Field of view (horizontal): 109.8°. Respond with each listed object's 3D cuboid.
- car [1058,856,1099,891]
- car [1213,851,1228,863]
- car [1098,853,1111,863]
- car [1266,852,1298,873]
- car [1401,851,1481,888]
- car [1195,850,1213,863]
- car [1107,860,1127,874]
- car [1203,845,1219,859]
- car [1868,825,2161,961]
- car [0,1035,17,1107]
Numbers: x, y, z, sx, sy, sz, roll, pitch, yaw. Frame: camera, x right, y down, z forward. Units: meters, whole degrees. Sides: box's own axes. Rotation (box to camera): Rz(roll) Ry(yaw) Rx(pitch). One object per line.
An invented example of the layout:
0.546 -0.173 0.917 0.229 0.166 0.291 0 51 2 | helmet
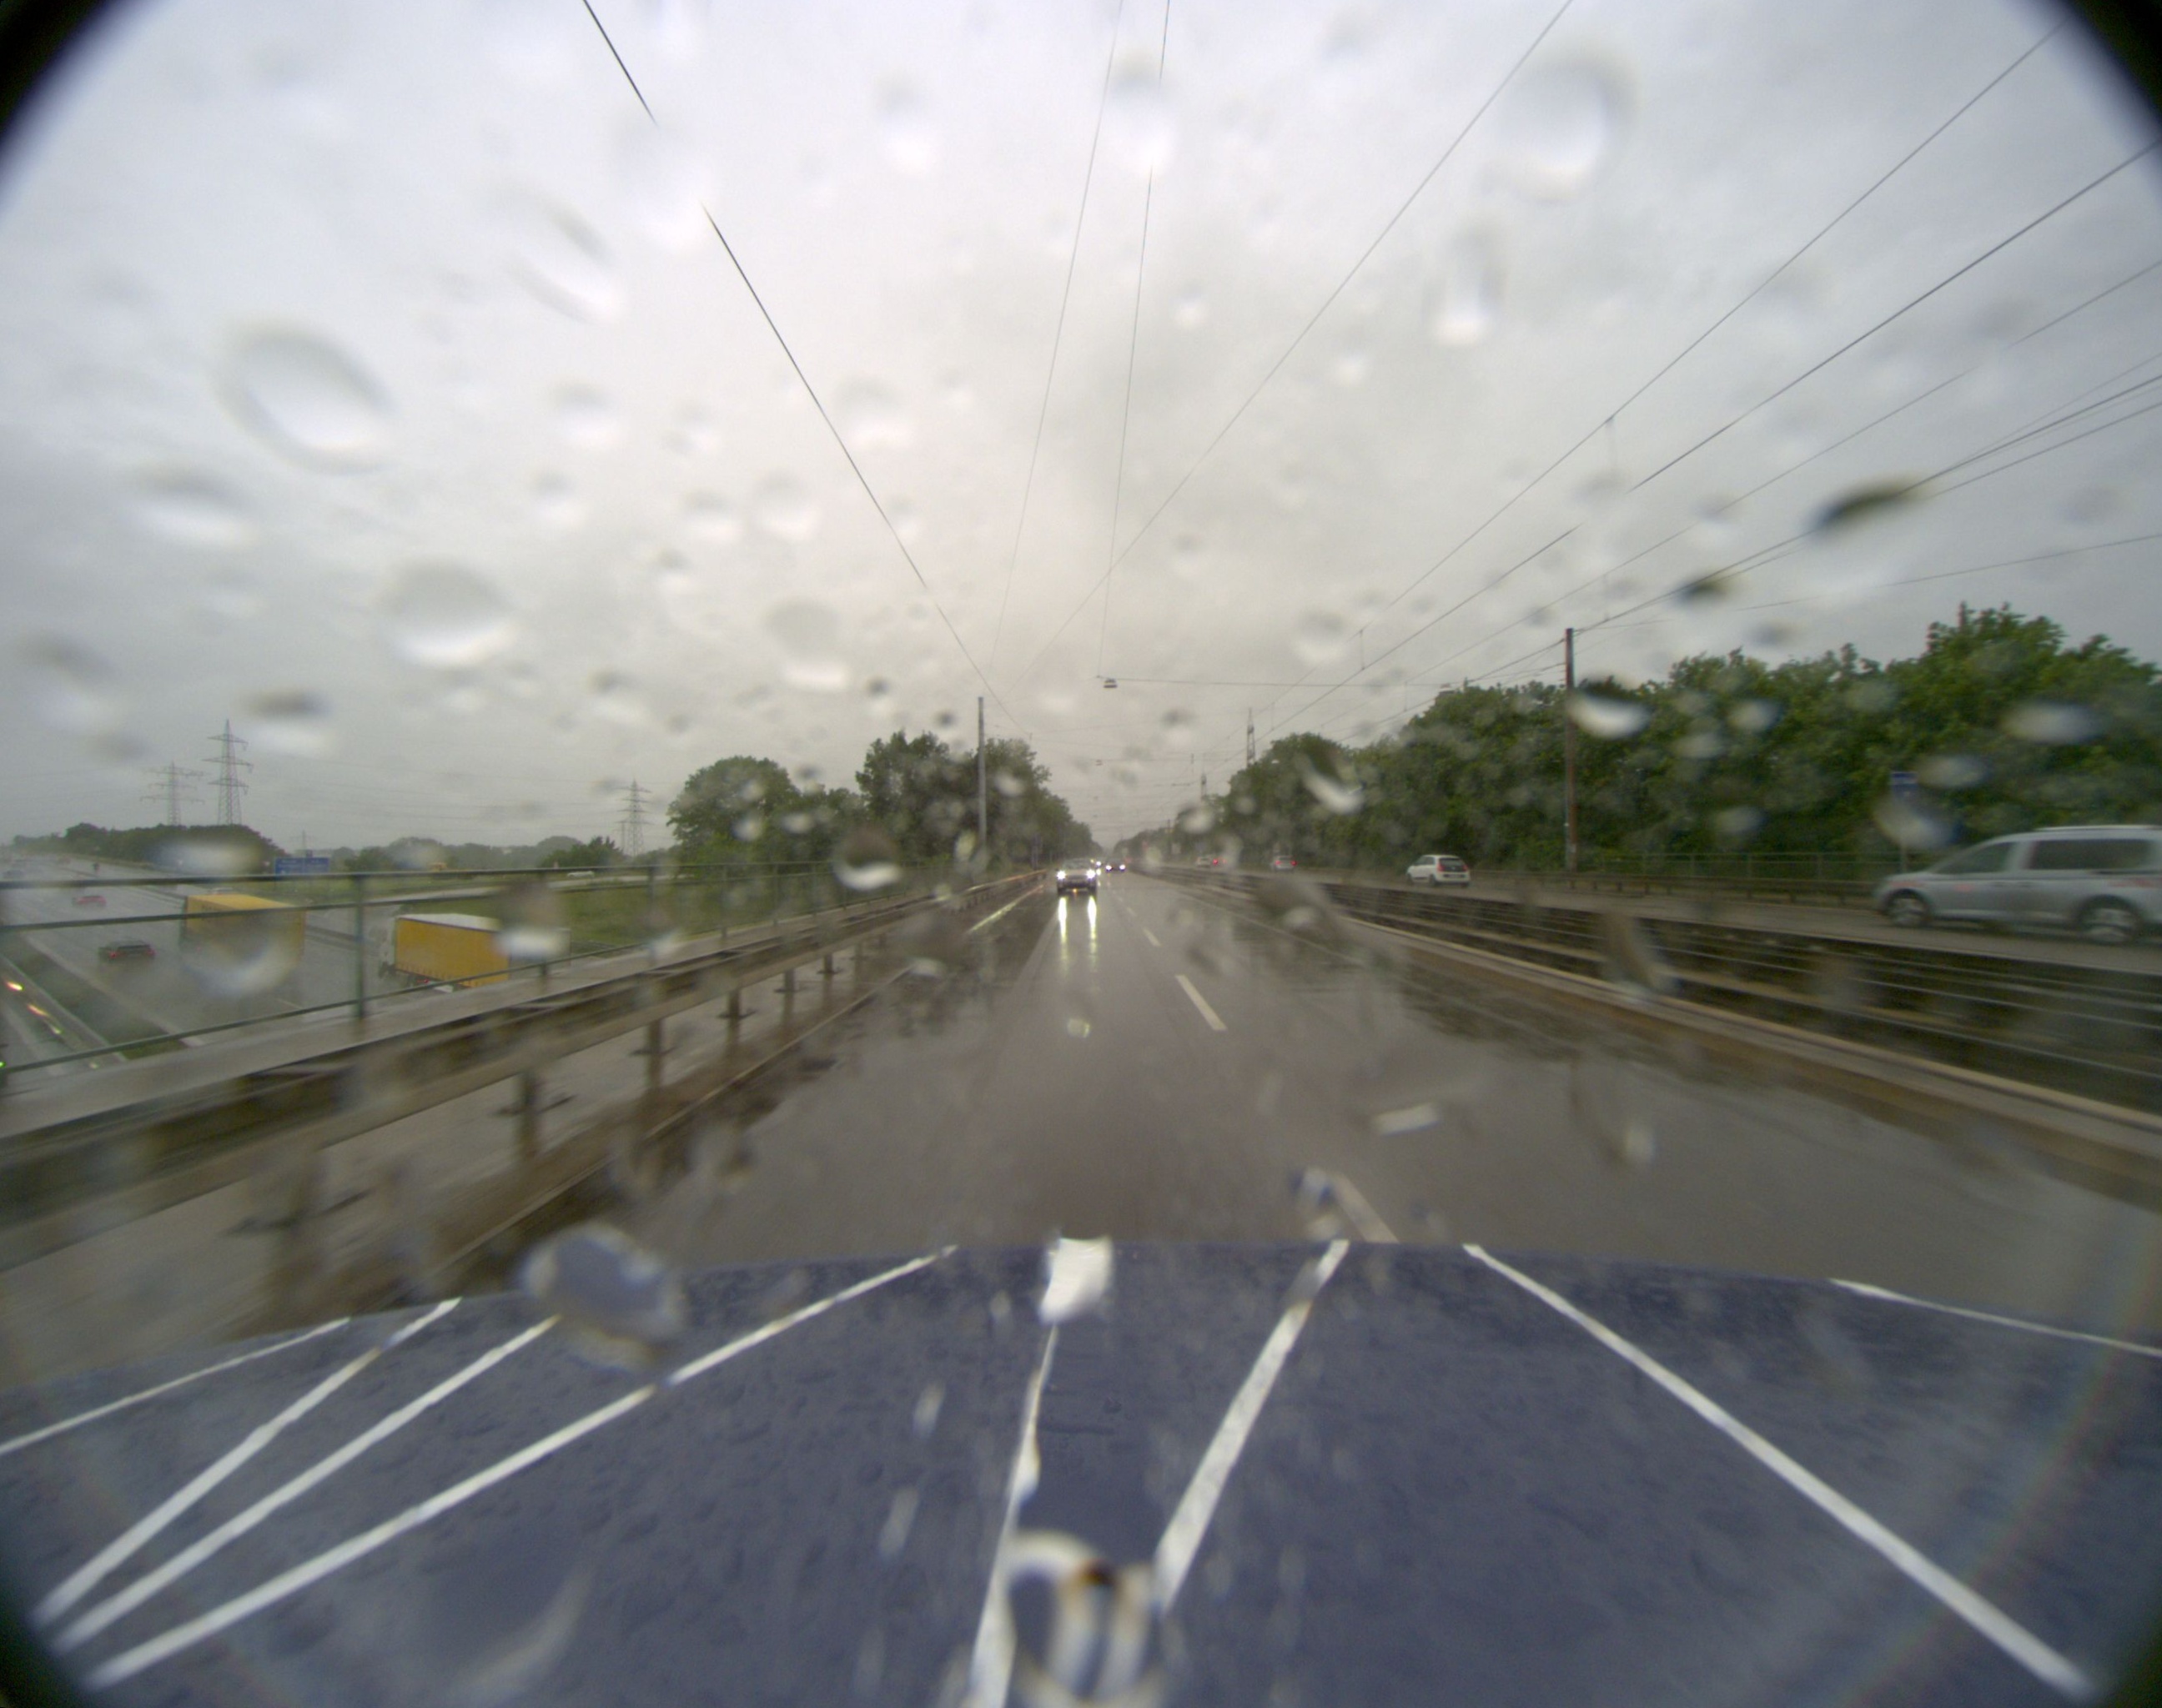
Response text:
-0.068 0.826 34.007 1.750 1.412 4.000 0 1 1 | car
21.359 0.476 116.616 1.777 1.621 3.671 -4 1 5 | car
3.624 0.616 117.916 1.971 1.412 4.000 0 1 1 | car
19.240 0.795 72.879 1.837 1.701 4.660 -4 2 1 | car
17.223 0.697 36.543 1.998 1.608 4.000 -1 1 1 | car
17.274 0.343 106.797 1.777 1.621 3.670 -4 1 1 | car
3.847 1.335 81.182 1.971 1.412 4.000 0 1 1 | car
21.946 -0.391 128.394 2.190 2.091 4.146 -4 1 3 | car
16.136 0.506 12.474 1.853 1.821 4.393 -4 1 1 | car
-35.860 7.114 24.315 3.988 1.577 1.809 2 4 33 | car
